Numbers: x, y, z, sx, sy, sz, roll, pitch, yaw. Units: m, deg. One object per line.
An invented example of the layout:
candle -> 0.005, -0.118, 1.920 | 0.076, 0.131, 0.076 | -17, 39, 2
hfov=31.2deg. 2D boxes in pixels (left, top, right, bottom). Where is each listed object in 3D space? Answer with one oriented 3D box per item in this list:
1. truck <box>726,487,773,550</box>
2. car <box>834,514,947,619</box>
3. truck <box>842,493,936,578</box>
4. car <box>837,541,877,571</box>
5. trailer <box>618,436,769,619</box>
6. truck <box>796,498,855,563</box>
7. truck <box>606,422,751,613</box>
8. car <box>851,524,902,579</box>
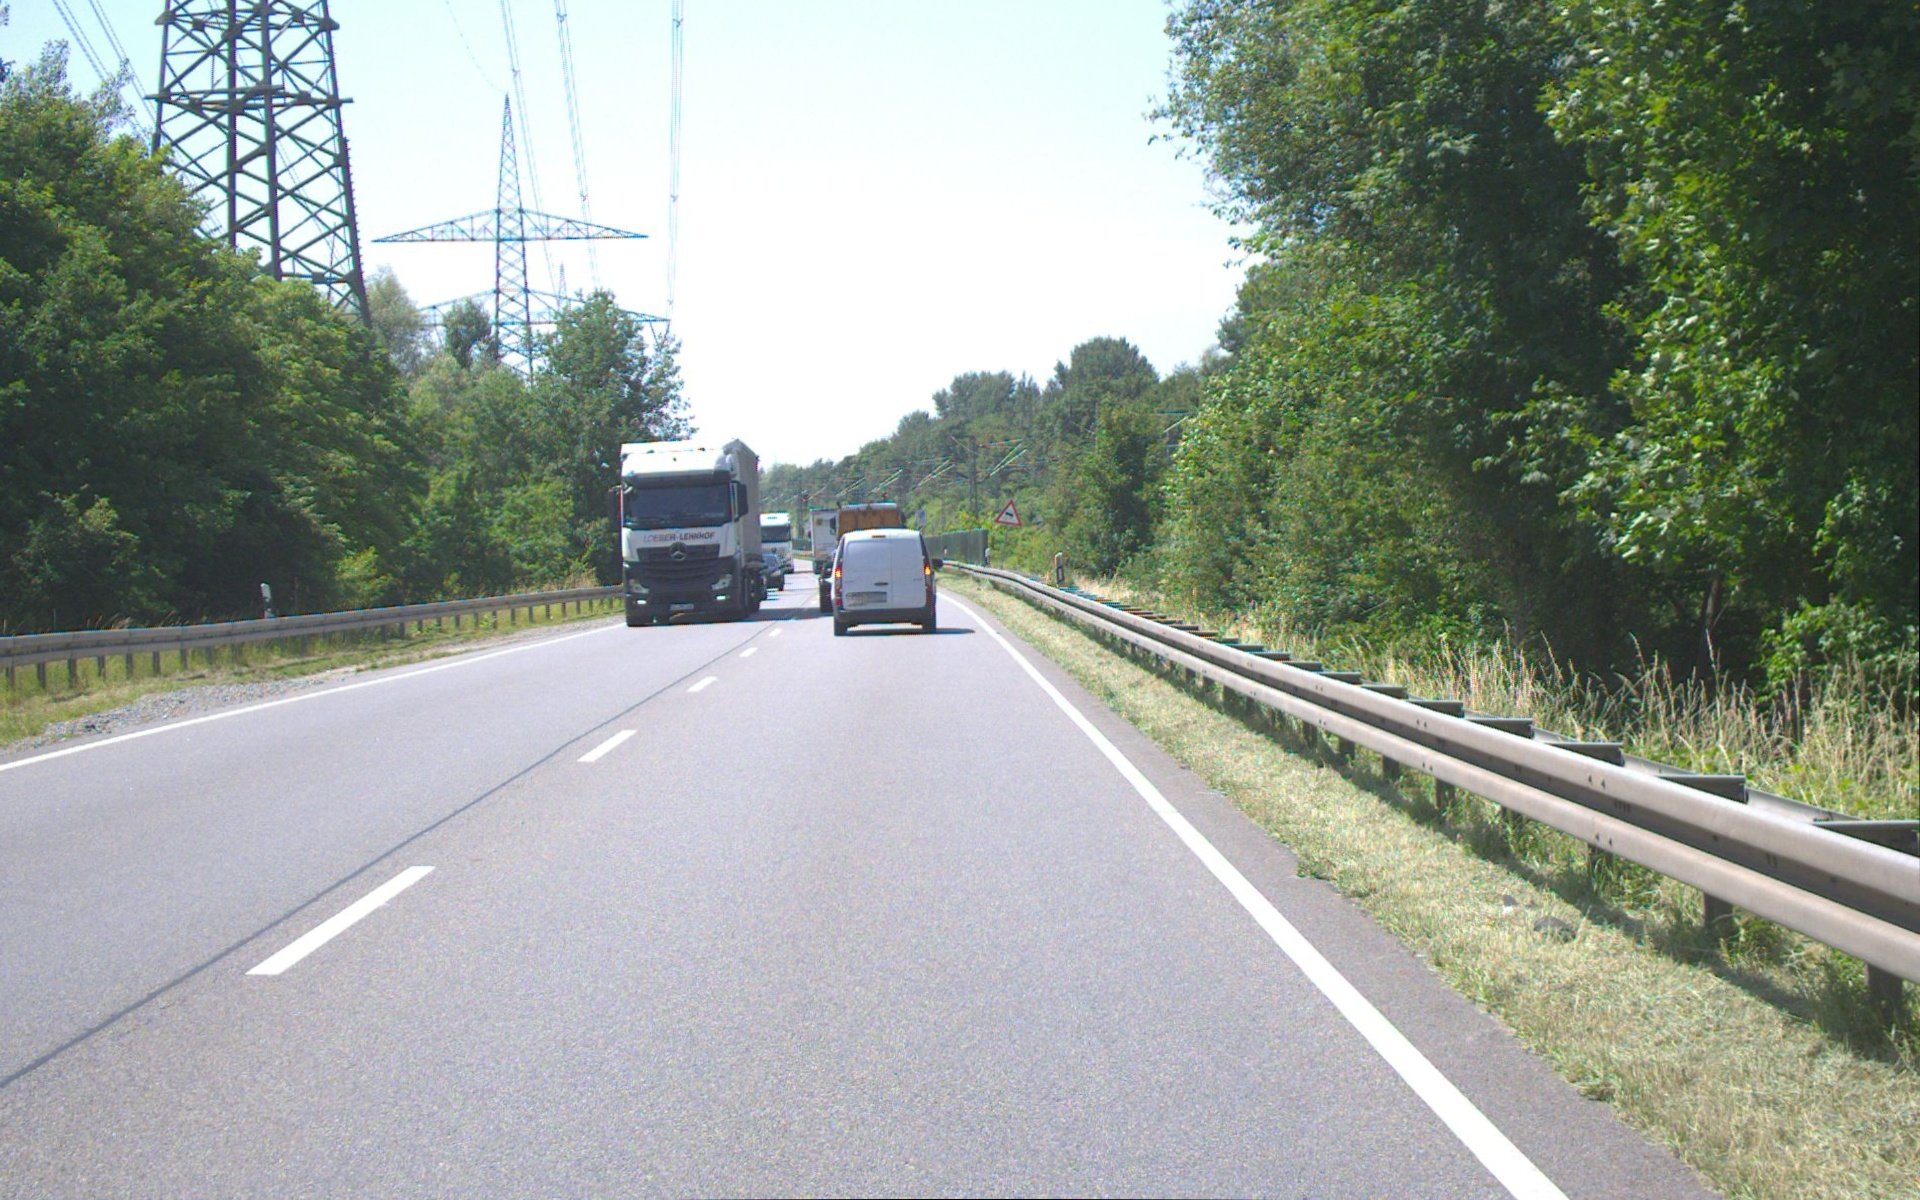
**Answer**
truck -> -14.183, -5.499, 231.999 | 2.742, 4.028, 9.665 | -3, 1, -2
car -> -1.195, -0.597, 59.281 | 1.875, 1.735, 4.000 | 0, 1, -1
truck -> -2.964, -2.690, 138.690 | 3.296, 3.161, 14.407 | 1, 2, -3
car -> -5.511, -2.376, 183.994 | 1.993, 1.521, 4.001 | -2, 1, -3
trailer -> -6.229, -1.706, 82.344 | 2.763, 3.985, 13.687 | 1, 1, -1
truck -> -8.571, -4.459, 216.797 | 3.402, 3.841, 16.821 | 1, 2, -3
truck -> -6.116, -1.787, 75.480 | 2.763, 3.985, 5.907 | -1, 1, -1
car -> -3.112, -1.814, 127.366 | 1.763, 2.007, 4.001 | 0, 1, -3
